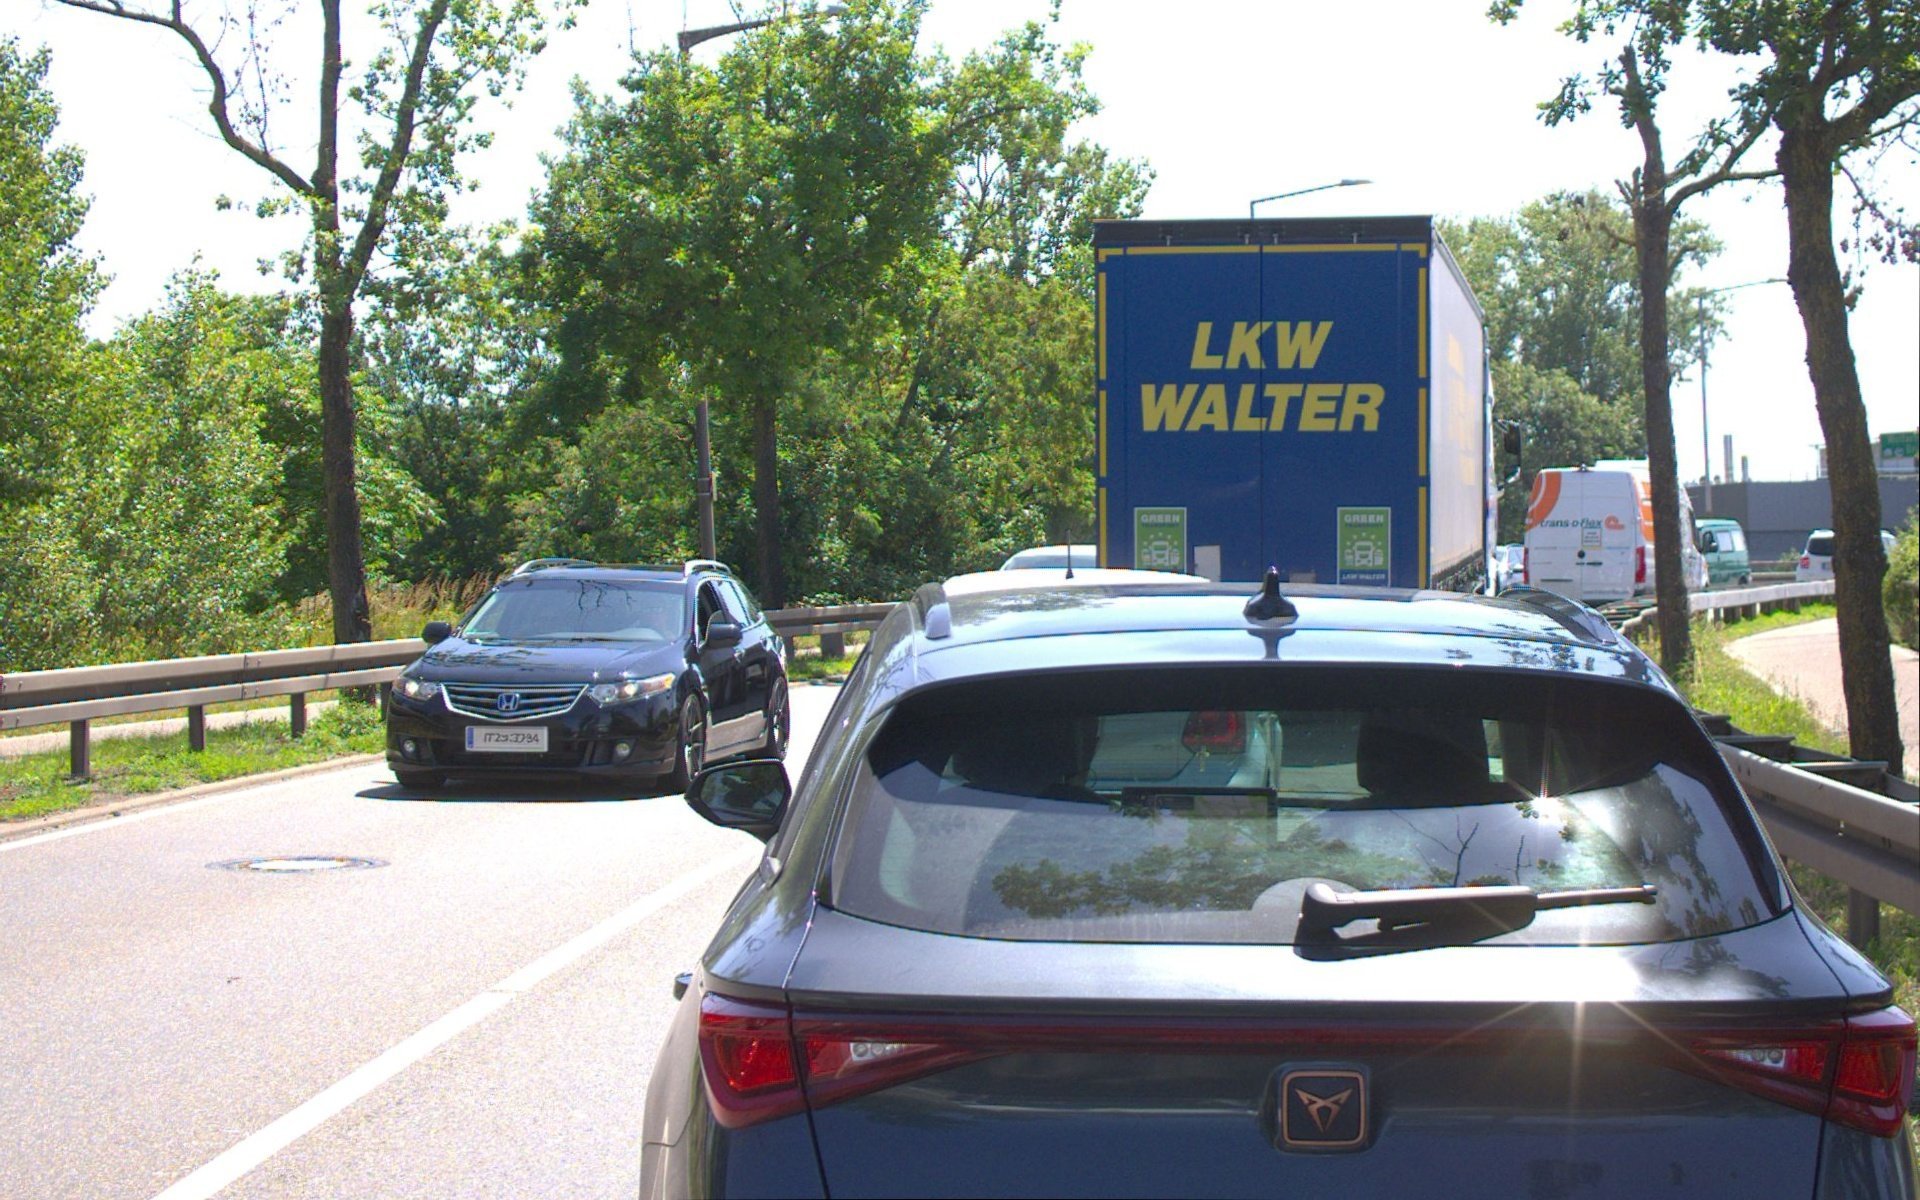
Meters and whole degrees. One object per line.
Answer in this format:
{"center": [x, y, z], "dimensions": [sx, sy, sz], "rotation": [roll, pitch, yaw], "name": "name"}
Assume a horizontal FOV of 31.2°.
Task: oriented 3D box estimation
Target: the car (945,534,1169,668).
{"center": [1.205, -0.017, 40.778], "dimensions": [1.876, 1.493, 3.998], "rotation": [1, 1, 13], "name": "car"}

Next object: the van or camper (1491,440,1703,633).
{"center": [10.536, -1.033, 56.452], "dimensions": [2.469, 2.988, 6.080], "rotation": [1, 1, 20], "name": "van or camper"}

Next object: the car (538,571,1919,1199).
{"center": [0.414, 0.690, 5.615], "dimensions": [1.744, 1.427, 3.880], "rotation": [1, 1, 0], "name": "car"}

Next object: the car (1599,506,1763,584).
{"center": [16.186, -1.215, 76.994], "dimensions": [2.133, 1.675, 4.871], "rotation": [1, 1, 31], "name": "car"}

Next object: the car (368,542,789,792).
{"center": [-2.341, 0.352, 22.186], "dimensions": [1.860, 1.416, 4.257], "rotation": [1, 1, 5], "name": "car"}

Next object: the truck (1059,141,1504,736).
{"center": [3.709, -1.327, 34.136], "dimensions": [2.951, 4.433, 16.791], "rotation": [1, 1, 10], "name": "truck"}

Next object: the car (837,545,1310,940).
{"center": [0.476, 0.521, 15.295], "dimensions": [1.809, 1.503, 4.000], "rotation": [1, 1, 1], "name": "car"}

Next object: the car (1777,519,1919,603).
{"center": [19.017, -0.832, 72.910], "dimensions": [1.997, 1.706, 4.612], "rotation": [1, 1, 30], "name": "car"}
